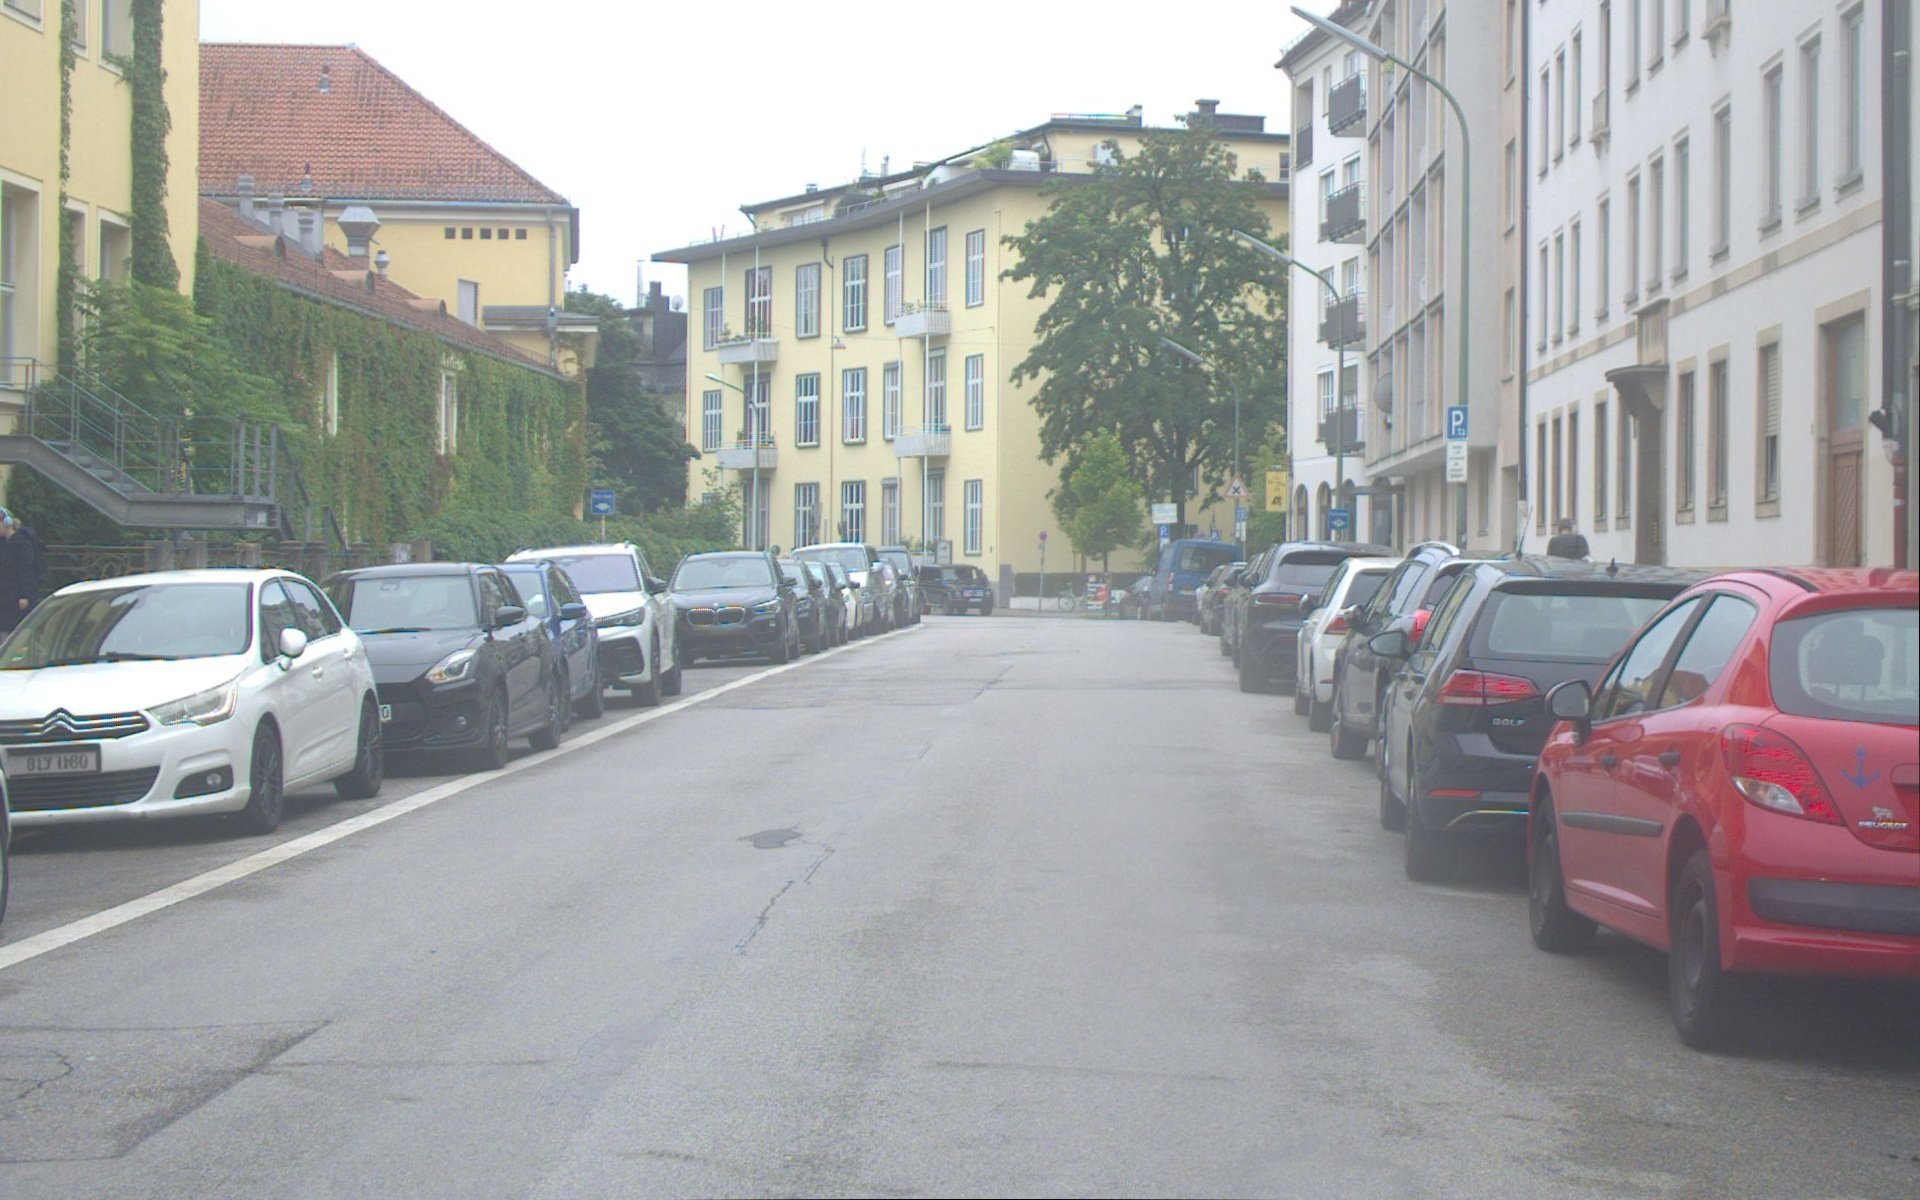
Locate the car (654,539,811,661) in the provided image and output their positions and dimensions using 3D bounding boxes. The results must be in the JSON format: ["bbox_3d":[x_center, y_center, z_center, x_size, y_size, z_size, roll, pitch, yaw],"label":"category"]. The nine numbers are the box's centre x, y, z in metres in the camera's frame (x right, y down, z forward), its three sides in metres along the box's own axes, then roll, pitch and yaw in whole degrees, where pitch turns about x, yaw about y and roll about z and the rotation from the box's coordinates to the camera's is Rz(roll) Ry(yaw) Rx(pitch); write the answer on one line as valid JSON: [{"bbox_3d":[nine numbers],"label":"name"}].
[{"bbox_3d":[-3.189,-0.025,49.011,1.789,1.581,4.818,-2,0,1],"label":"car"}]

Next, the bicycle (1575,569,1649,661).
[{"bbox_3d":[9.010,0.193,47.565,0.512,1.218,1.989,0,1,-4],"label":"bicycle"}]

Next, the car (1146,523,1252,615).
[{"bbox_3d":[6.581,-0.825,95.165,2.079,2.226,5.245,5,-2,-3],"label":"car"}]

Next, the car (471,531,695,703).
[{"bbox_3d":[-3.798,0.140,35.400,1.745,1.628,4.856,-1,1,0],"label":"car"}]

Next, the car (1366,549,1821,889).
[{"bbox_3d":[2.956,0.475,16.861,1.688,1.397,4.363,1,1,4],"label":"car"}]

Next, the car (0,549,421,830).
[{"bbox_3d":[-4.525,0.436,20.111,1.785,1.427,4.652,1,1,3],"label":"car"}]

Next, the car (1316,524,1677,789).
[{"bbox_3d":[3.552,0.311,23.503,1.706,1.587,4.362,2,1,0],"label":"car"}]

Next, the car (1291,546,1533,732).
[{"bbox_3d":[3.821,0.291,29.693,1.673,1.424,4.530,2,1,3],"label":"car"}]

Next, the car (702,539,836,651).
[{"bbox_3d":[-2.952,-0.093,53.861,1.724,1.624,4.466,-2,0,1],"label":"car"}]

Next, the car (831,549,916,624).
[{"bbox_3d":[-1.979,-0.319,79.932,1.697,1.637,4.490,-2,0,2],"label":"car"}]

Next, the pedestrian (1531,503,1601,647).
[{"bbox_3d":[7.532,-0.300,42.755,0.723,1.757,0.904,1,-1,3],"label":"pedestrian"}]

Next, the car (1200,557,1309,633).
[{"bbox_3d":[5.803,-0.120,68.177,1.745,1.383,4.954,3,1,1],"label":"car"}]

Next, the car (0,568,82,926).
[{"bbox_3d":[-4.761,0.635,12.536,1.794,1.424,4.665,-3,0,1],"label":"car"}]

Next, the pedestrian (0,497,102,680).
[{"bbox_3d":[-8.911,-0.117,32.926,0.902,1.713,1.058,0,1,18],"label":"pedestrian"}]

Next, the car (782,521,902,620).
[{"bbox_3d":[-2.351,-0.593,69.633,1.887,1.883,4.773,-2,0,4],"label":"car"}]

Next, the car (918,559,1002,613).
[{"bbox_3d":[-0.036,-0.557,132.106,1.762,1.868,4.380,5,0,-19],"label":"car"}]

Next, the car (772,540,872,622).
[{"bbox_3d":[-2.543,-0.359,64.180,1.591,1.436,4.019,-2,0,1],"label":"car"}]

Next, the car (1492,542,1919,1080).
[{"bbox_3d":[3.033,0.588,11.811,1.687,1.495,4.147,2,1,0],"label":"car"}]

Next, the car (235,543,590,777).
[{"bbox_3d":[-3.929,0.391,25.319,1.699,1.492,4.148,-3,0,3],"label":"car"}]

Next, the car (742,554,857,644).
[{"bbox_3d":[-2.716,-0.027,58.930,1.603,1.425,4.251,-3,0,2],"label":"car"}]

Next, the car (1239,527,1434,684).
[{"bbox_3d":[3.969,0.032,36.847,1.840,1.517,4.708,2,1,4],"label":"car"}]

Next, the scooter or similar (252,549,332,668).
[{"bbox_3d":[-7.744,0.086,39.873,0.560,1.364,1.501,0,1,3],"label":"scooter or similar"}]

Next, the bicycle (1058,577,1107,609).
[{"bbox_3d":[4.736,-0.289,132.812,1.926,1.197,0.594,1,1,40],"label":"bicycle"}]

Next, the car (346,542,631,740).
[{"bbox_3d":[-4.085,0.319,30.443,1.703,1.497,4.495,-5,0,1],"label":"car"}]
